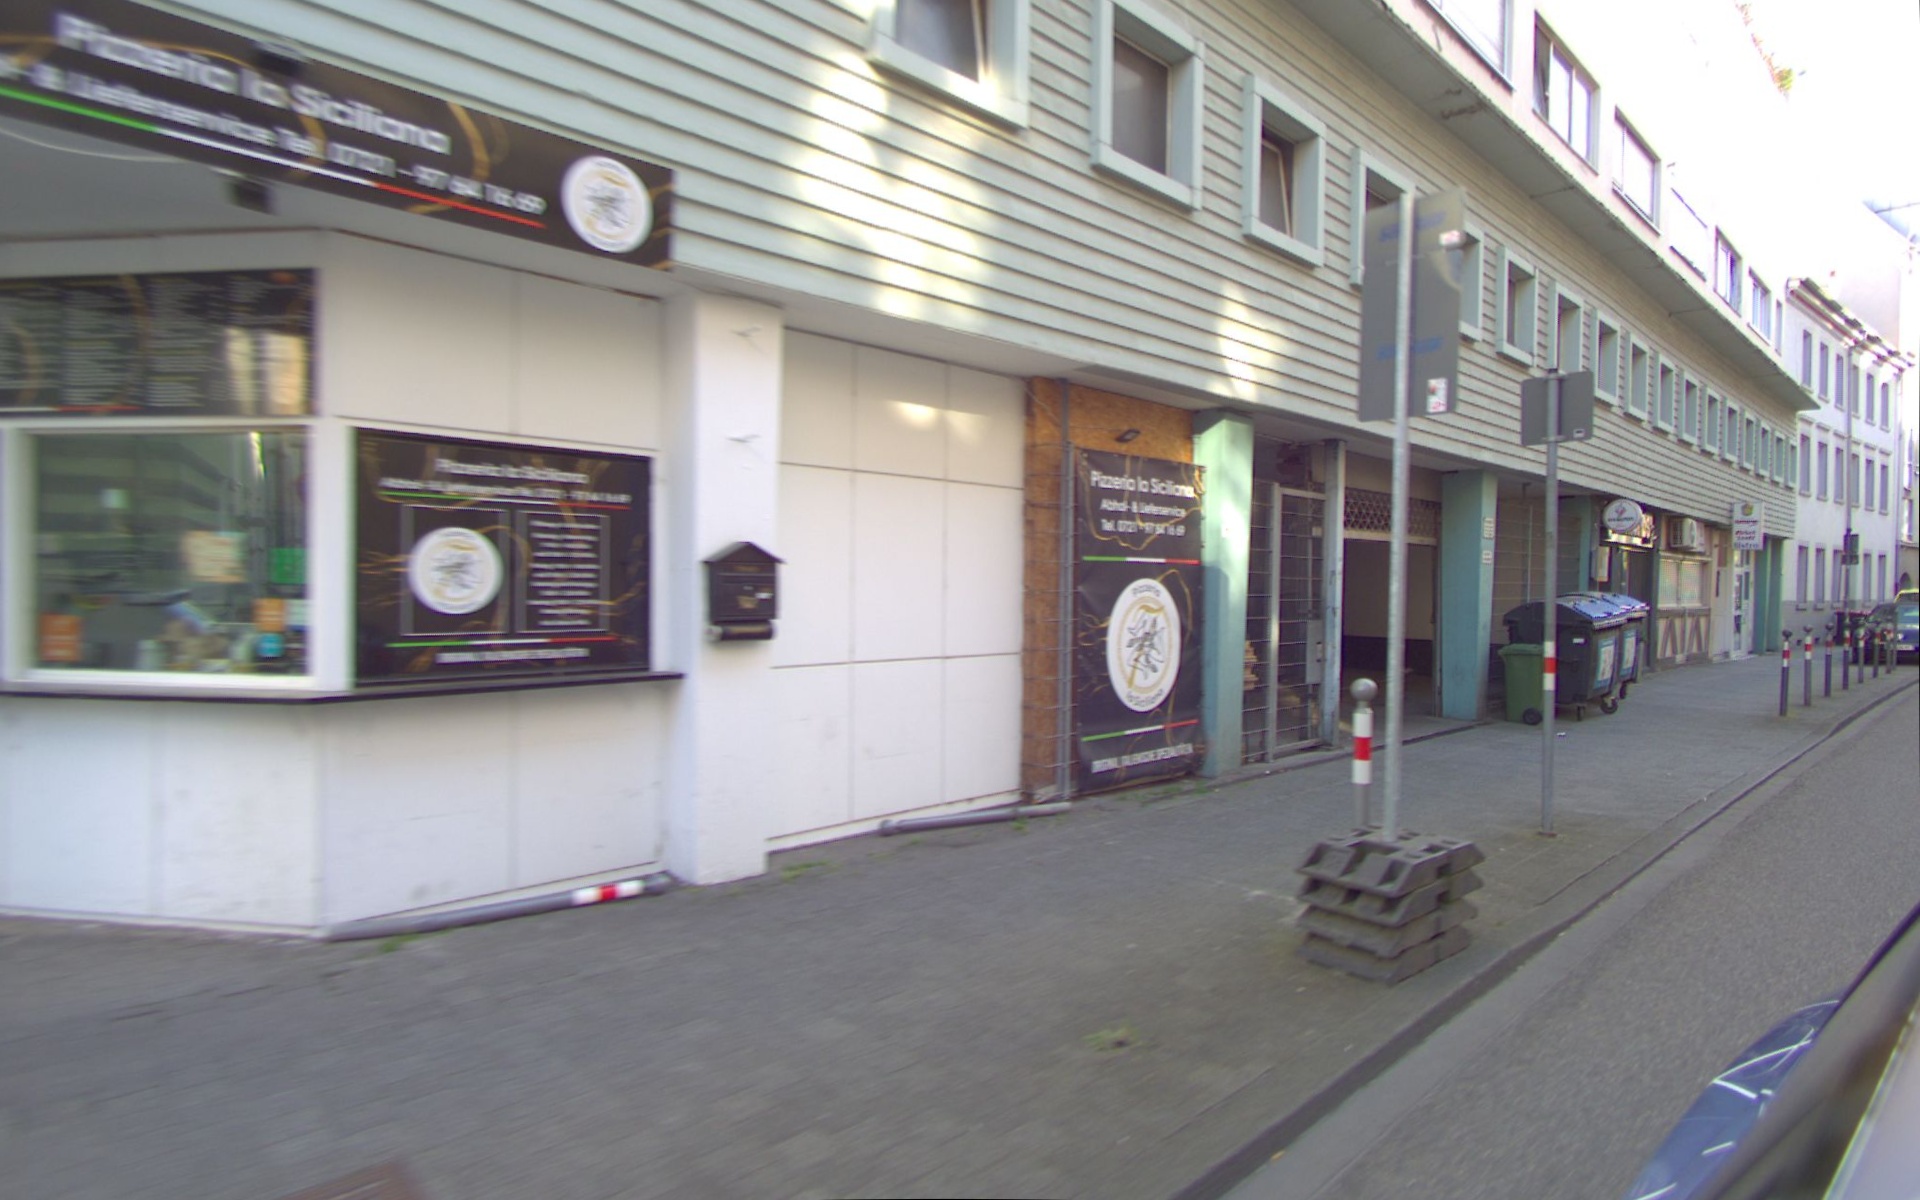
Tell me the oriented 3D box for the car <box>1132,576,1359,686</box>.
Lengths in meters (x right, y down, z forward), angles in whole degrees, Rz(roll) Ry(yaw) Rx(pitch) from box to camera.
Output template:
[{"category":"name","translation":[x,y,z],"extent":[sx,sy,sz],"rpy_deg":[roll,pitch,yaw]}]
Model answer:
[{"category":"car","translation":[4.796,0.401,16.661],"extent":[1.828,1.450,4.214],"rpy_deg":[3,4,43]}]

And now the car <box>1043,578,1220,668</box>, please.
[{"category":"car","translation":[3.233,0.367,18.775],"extent":[1.583,1.487,3.344],"rpy_deg":[3,2,45]}]

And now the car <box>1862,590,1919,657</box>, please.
[{"category":"car","translation":[23.370,0.523,24.464],"extent":[4.293,1.508,1.886],"rpy_deg":[0,0,-42]}]

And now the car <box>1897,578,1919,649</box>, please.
[{"category":"car","translation":[27.695,0.354,28.098],"extent":[4.759,1.905,1.887],"rpy_deg":[0,0,-40]}]

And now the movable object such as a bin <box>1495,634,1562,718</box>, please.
[{"category":"movable object such as a bin","translation":[6.852,0.906,12.203],"extent":[0.514,0.910,0.557],"rpy_deg":[-3,4,-42]}]

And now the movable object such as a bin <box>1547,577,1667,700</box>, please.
[{"category":"movable object such as a bin","translation":[8.822,0.478,13.796],"extent":[1.525,1.497,0.983],"rpy_deg":[-3,4,-42]}]

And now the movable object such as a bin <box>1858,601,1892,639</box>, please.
[{"category":"movable object such as a bin","translation":[28.096,0.610,31.081],"extent":[0.697,1.063,0.627],"rpy_deg":[-1,6,-44]}]

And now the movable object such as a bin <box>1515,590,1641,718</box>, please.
[{"category":"movable object such as a bin","translation":[7.713,0.625,12.626],"extent":[1.298,1.401,0.983],"rpy_deg":[-3,4,-42]}]

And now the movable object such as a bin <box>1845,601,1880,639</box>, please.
[{"category":"movable object such as a bin","translation":[27.391,0.591,30.708],"extent":[0.696,1.063,0.608],"rpy_deg":[0,6,-41]}]
